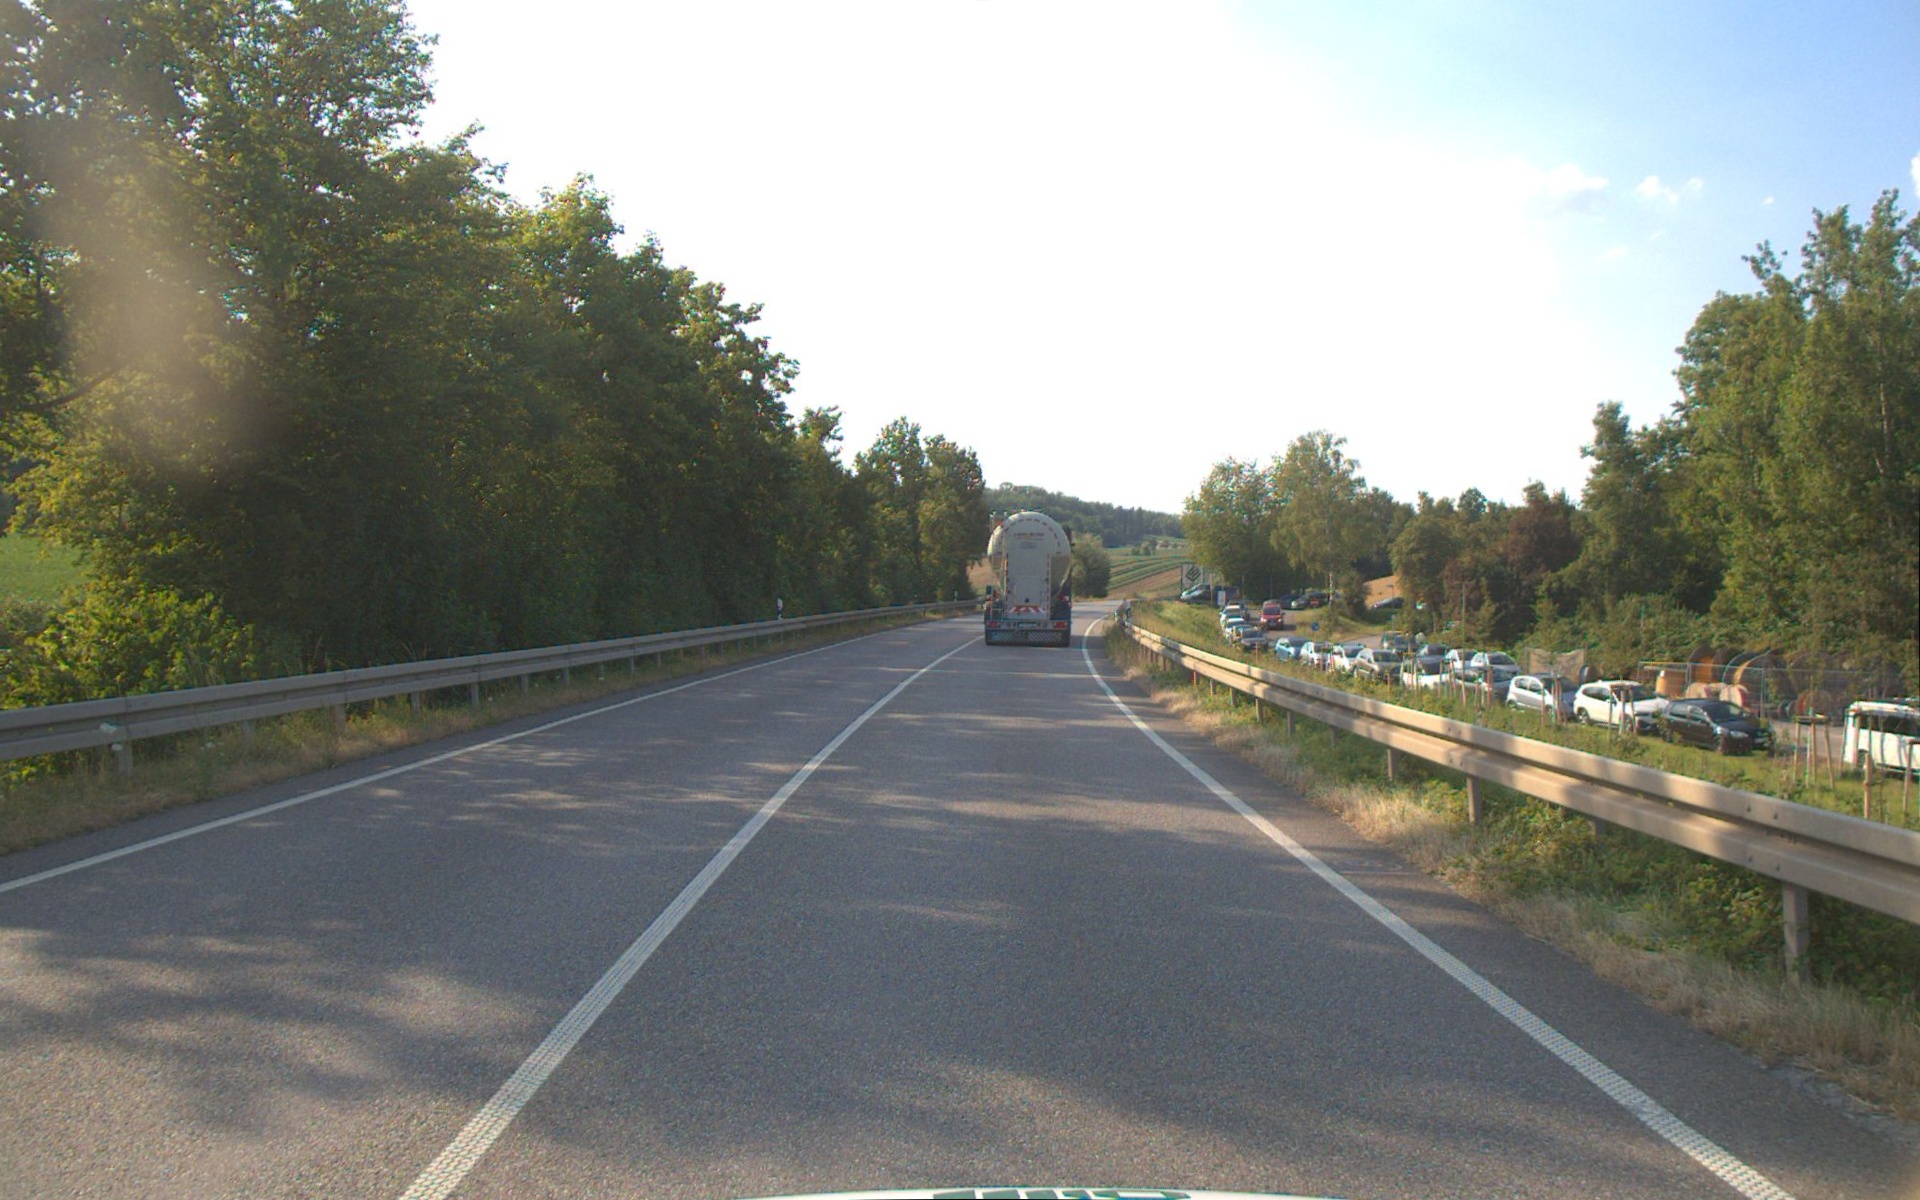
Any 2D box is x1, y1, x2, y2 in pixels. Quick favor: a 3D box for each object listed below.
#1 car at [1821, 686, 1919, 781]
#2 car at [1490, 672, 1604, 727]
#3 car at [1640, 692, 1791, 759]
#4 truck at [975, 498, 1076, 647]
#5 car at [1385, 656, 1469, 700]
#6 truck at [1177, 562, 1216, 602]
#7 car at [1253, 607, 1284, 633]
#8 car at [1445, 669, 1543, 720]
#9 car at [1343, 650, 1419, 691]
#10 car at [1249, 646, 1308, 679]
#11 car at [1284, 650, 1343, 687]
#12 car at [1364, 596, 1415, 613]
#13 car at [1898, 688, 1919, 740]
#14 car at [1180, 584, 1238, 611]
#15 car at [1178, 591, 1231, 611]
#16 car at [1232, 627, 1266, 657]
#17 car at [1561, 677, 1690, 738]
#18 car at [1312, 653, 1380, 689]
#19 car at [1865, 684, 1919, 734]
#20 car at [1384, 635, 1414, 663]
[{"bbox_3d":[25.809,3.599,44.073,2.082,2.052,5.363,-4,2,-12],"label":"car"},{"bbox_3d":[22.607,3.808,63.903,1.859,1.586,4.768,-4,2,-12],"label":"car"},{"bbox_3d":[23.975,3.945,52.666,1.859,1.508,4.768,-4,2,-12],"label":"car"},{"bbox_3d":[2.038,-0.817,53.766,2.833,4.215,13.174,1,0,2],"label":"truck"},{"bbox_3d":[21.489,3.573,76.306,1.857,1.586,4.773,-4,2,-9],"label":"car"},{"bbox_3d":[27.093,-2.125,188.712,3.115,4.301,13.184,0,1,14],"label":"truck"},{"bbox_3d":[24.119,1.544,129.537,1.852,1.716,5.091,-3,2,6],"label":"car"},{"bbox_3d":[22.203,3.905,68.952,1.857,1.586,4.773,-4,2,-9],"label":"car"},{"bbox_3d":[20.804,3.486,81.986,1.857,1.586,4.773,-4,2,-9],"label":"car"},{"bbox_3d":[18.969,3.705,98.705,1.857,1.586,4.773,-4,2,-9],"label":"car"},{"bbox_3d":[19.756,3.803,92.638,1.855,1.586,4.779,-3,2,-4],"label":"car"},{"bbox_3d":[41.026,0.445,157.984,4.568,1.533,1.985,1,1,-25],"label":"car"},{"bbox_3d":[32.580,3.688,52.813,4.145,1.515,1.835,1,3,2],"label":"car"},{"bbox_3d":[22.675,-0.230,150.601,5.032,1.976,1.977,6,2,10],"label":"car"},{"bbox_3d":[21.666,0.103,146.780,4.242,1.423,1.713,4,2,-17],"label":"car"},{"bbox_3d":[19.284,2.780,110.499,1.852,1.586,4.787,-3,2,6],"label":"car"},{"bbox_3d":[23.443,3.754,58.489,1.859,1.586,4.768,-4,2,-12],"label":"car"},{"bbox_3d":[20.433,3.743,87.690,1.857,1.586,4.773,-1,1,-9],"label":"car"},{"bbox_3d":[32.966,3.658,55.761,4.159,1.516,1.828,1,0,-12],"label":"car"},{"bbox_3d":[26.875,3.000,101.234,1.665,1.423,4.789,-3,0,16],"label":"car"}]
